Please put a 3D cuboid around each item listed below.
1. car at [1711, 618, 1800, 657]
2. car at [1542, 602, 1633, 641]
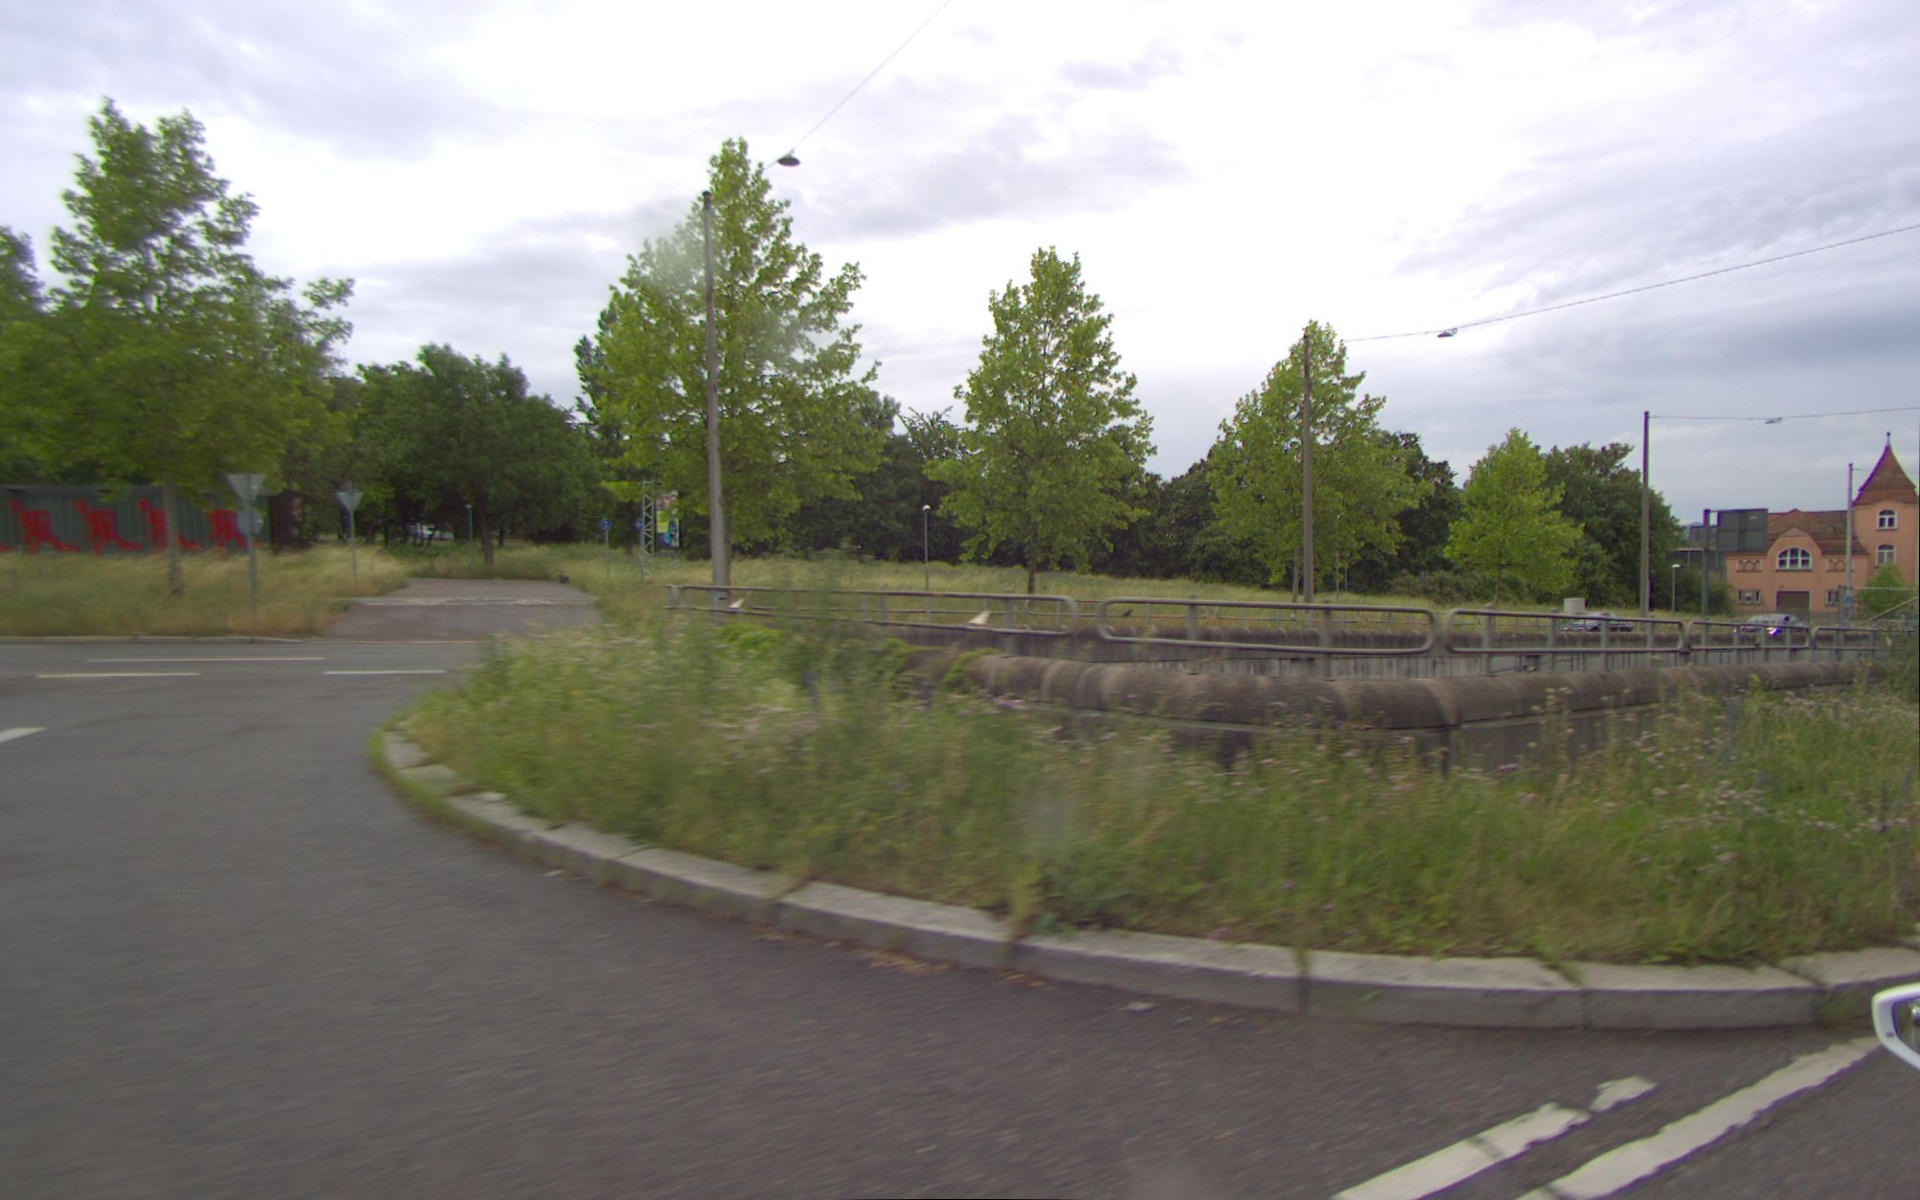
[{"bbox_3d":[39.187,1.839,49.470,4.306,1.666,1.882,1,4,-30],"label":"car"},{"bbox_3d":[28.570,0.955,45.723,3.925,1.663,1.882,1,1,-30],"label":"car"}]
